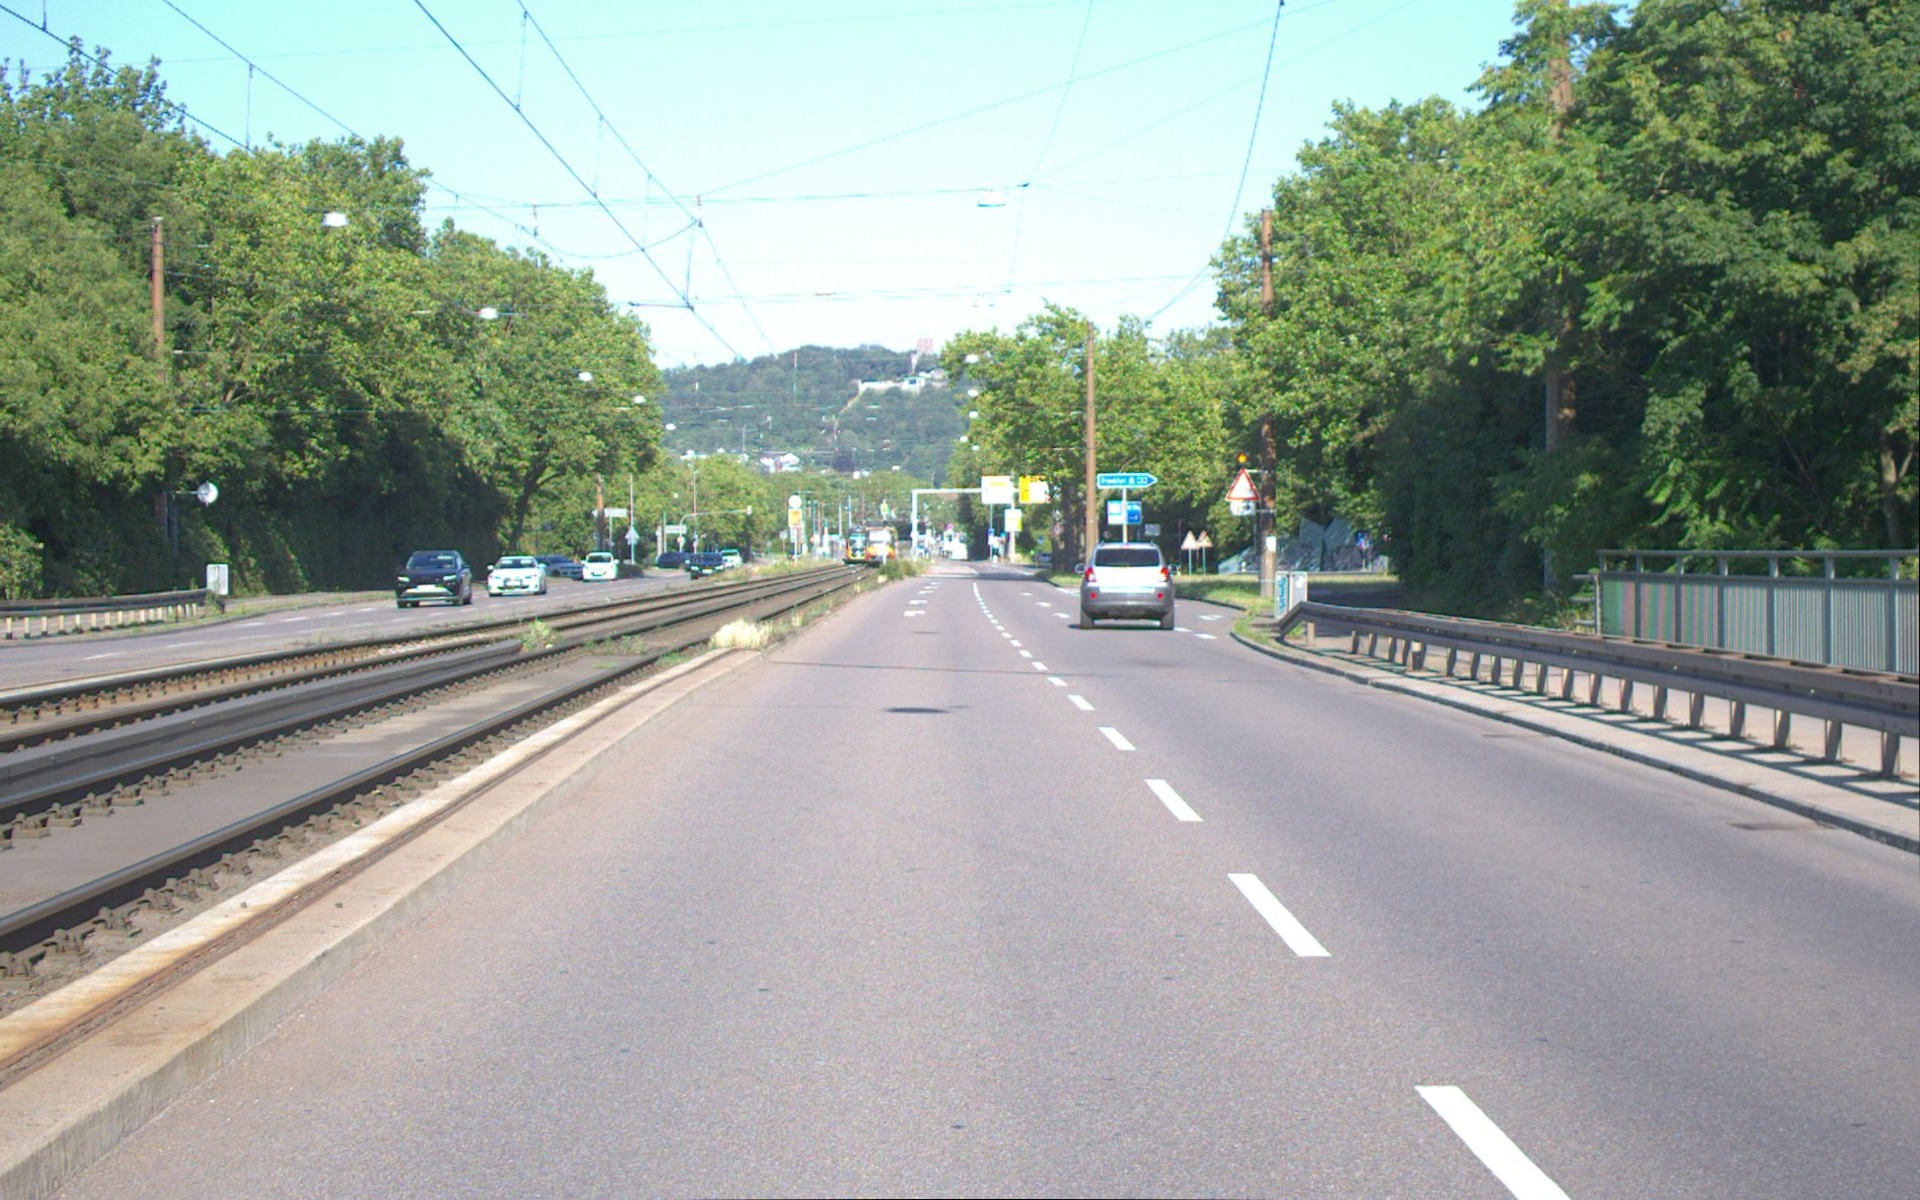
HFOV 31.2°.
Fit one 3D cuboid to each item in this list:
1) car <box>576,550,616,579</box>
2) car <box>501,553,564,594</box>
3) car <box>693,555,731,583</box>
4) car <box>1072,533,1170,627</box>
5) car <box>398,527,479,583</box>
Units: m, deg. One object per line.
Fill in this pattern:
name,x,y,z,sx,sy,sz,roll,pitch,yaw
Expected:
car,-20.094,-1.972,189.954,1.691,1.550,4.191,-2,1,0
car,-15.475,-0.973,124.720,1.754,1.409,4.878,-2,1,-2
car,-13.384,-1.675,185.517,1.657,1.428,4.502,-2,1,0
car,3.217,-0.405,68.118,1.809,1.767,3.862,1,1,4
car,-15.216,-1.320,100.516,1.709,1.575,4.801,-1,1,-1
